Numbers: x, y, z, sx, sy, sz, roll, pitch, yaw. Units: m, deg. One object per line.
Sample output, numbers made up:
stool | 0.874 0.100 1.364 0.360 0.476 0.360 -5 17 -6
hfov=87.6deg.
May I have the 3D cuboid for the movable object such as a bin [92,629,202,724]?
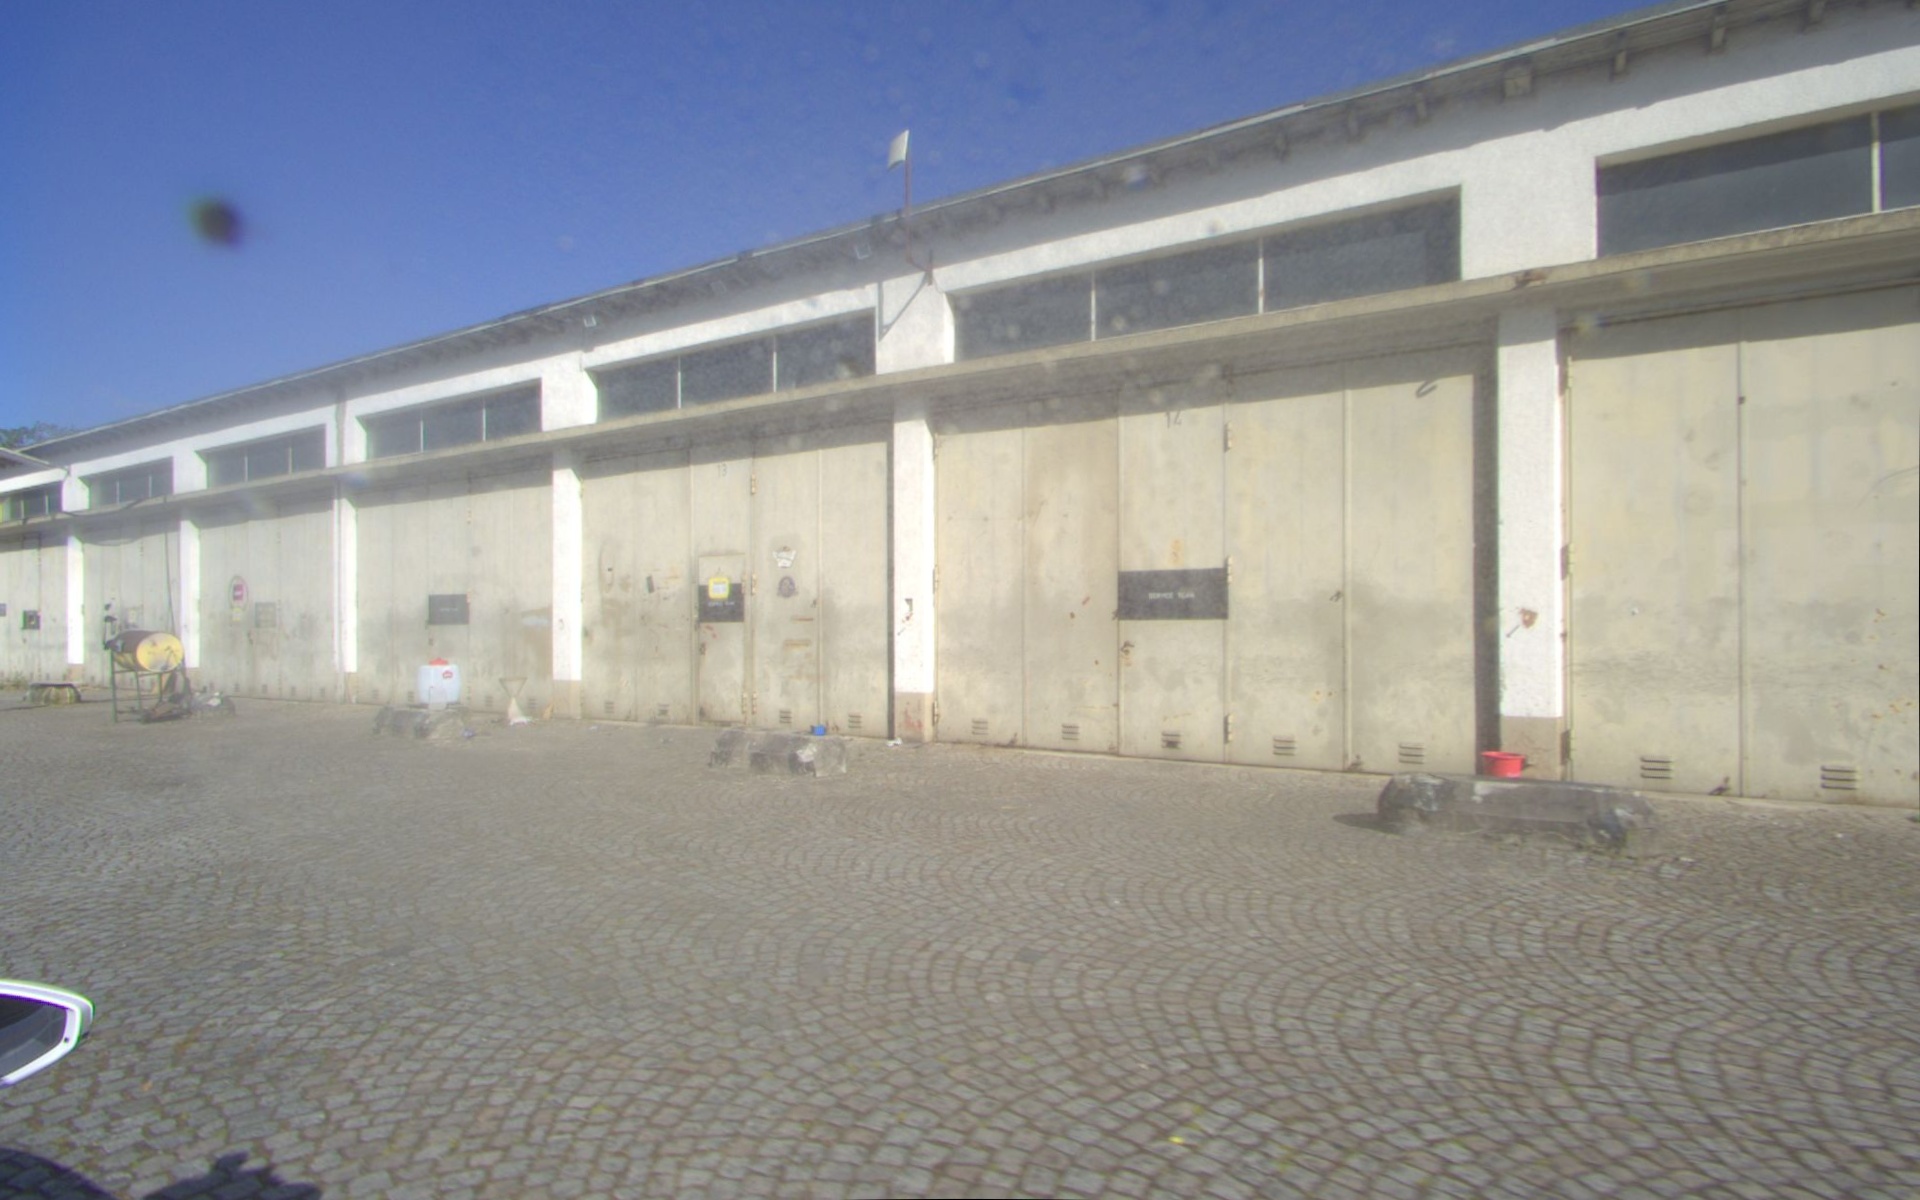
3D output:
movable object such as a bin | -12.102 1.115 14.913 1.260 1.349 0.823 -1 -1 27
